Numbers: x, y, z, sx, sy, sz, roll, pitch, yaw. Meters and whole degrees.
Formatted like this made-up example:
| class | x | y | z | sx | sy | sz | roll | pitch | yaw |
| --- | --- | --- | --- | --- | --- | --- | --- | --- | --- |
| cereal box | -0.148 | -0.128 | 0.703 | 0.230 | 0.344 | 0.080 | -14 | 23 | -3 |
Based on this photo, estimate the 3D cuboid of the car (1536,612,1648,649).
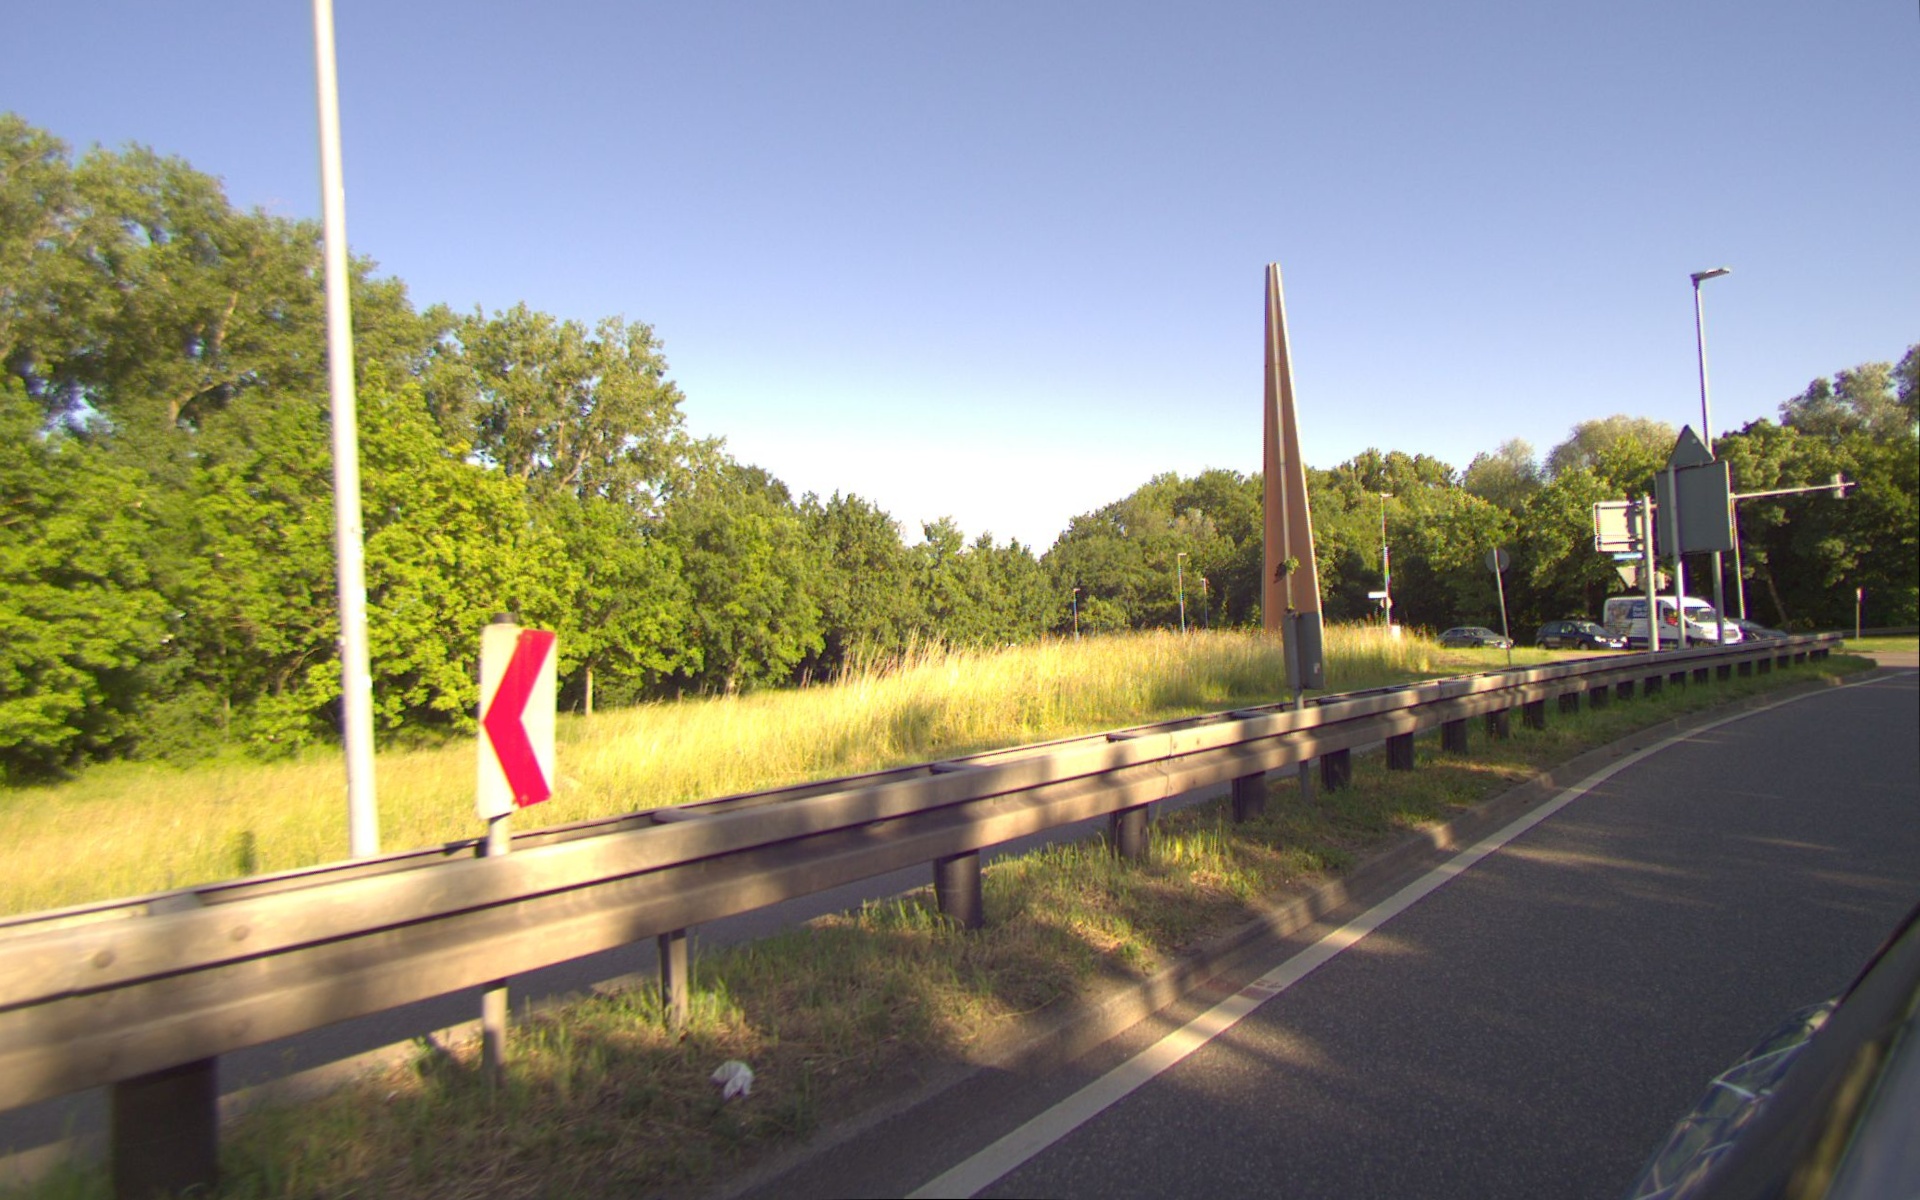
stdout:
| class | x | y | z | sx | sy | sz | roll | pitch | yaw |
| --- | --- | --- | --- | --- | --- | --- | --- | --- | --- |
| car | 26.646 | 1.257 | 42.834 | 1.807 | 1.432 | 3.993 | -1 | -1 | -8 |

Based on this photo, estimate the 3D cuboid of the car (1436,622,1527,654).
| class | x | y | z | sx | sy | sz | roll | pitch | yaw |
| --- | --- | --- | --- | --- | --- | --- | --- | --- | --- |
| car | 25.312 | 1.826 | 49.293 | 1.614 | 1.409 | 4.296 | -1 | -1 | -10 |

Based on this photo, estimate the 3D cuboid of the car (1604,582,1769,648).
| class | x | y | z | sx | sy | sz | roll | pitch | yaw |
| --- | --- | --- | --- | --- | --- | --- | --- | --- | --- |
| car | 30.296 | 0.704 | 42.527 | 2.071 | 2.532 | 5.712 | -1 | -3 | -9 |

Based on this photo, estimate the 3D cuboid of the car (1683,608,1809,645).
| class | x | y | z | sx | sy | sz | roll | pitch | yaw |
| --- | --- | --- | --- | --- | --- | --- | --- | --- | --- |
| car | 33.556 | 1.104 | 43.362 | 1.733 | 1.458 | 4.095 | -1 | -1 | -11 |
